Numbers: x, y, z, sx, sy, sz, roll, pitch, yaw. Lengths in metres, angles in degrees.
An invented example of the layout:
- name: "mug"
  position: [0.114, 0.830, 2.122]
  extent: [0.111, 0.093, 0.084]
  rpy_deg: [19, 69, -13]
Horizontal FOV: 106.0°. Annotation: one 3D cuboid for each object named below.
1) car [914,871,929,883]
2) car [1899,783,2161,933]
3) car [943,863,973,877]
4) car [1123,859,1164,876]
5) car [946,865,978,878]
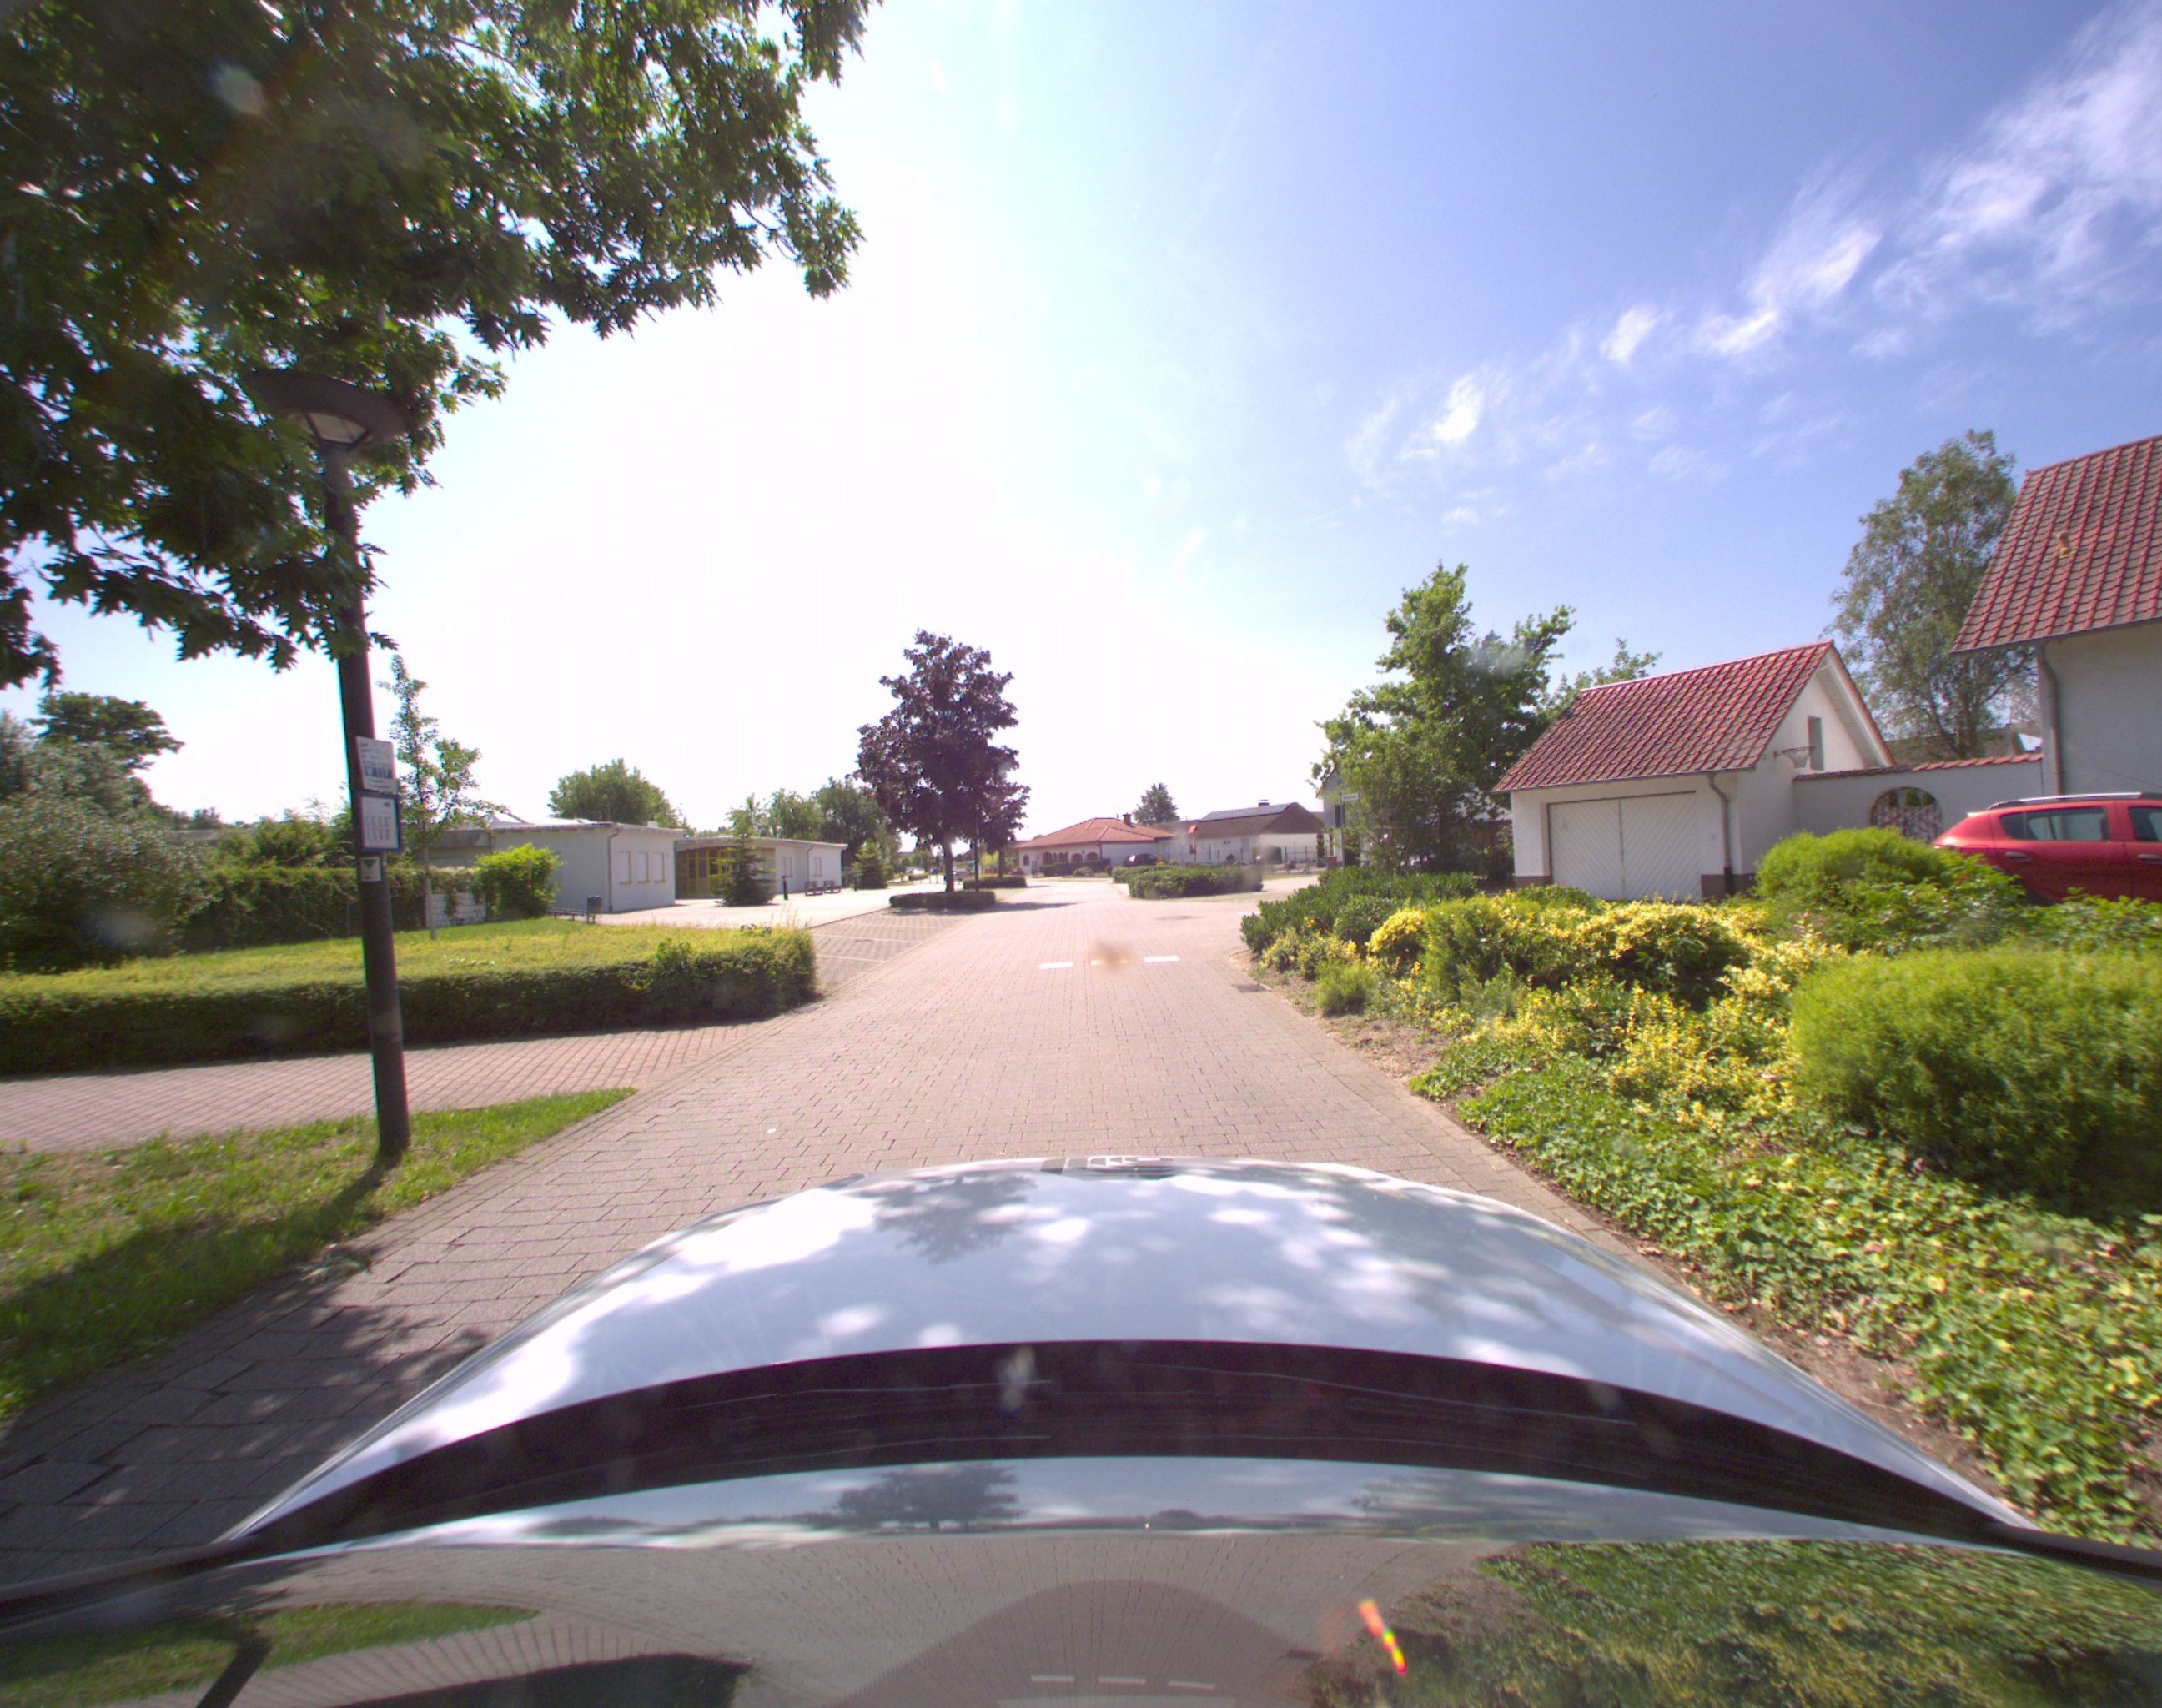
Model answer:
- name: "car"
  position: [-21.654, 3.141, 110.805]
  extent: [1.612, 1.627, 3.549]
  rpy_deg: [-2, -1, -6]
- name: "car"
  position: [12.247, 0.027, 9.140]
  extent: [1.671, 1.601, 3.988]
  rpy_deg: [-1, -1, -30]
- name: "car"
  position: [-12.047, 1.589, 79.578]
  extent: [1.625, 1.288, 3.521]
  rpy_deg: [-1, -1, -31]
- name: "car"
  position: [6.172, 1.343, 80.366]
  extent: [3.858, 1.542, 1.831]
  rpy_deg: [-1, -1, -44]
- name: "car"
  position: [-12.847, 1.879, 87.516]
  extent: [2.007, 1.288, 3.960]
  rpy_deg: [-1, -1, -31]
